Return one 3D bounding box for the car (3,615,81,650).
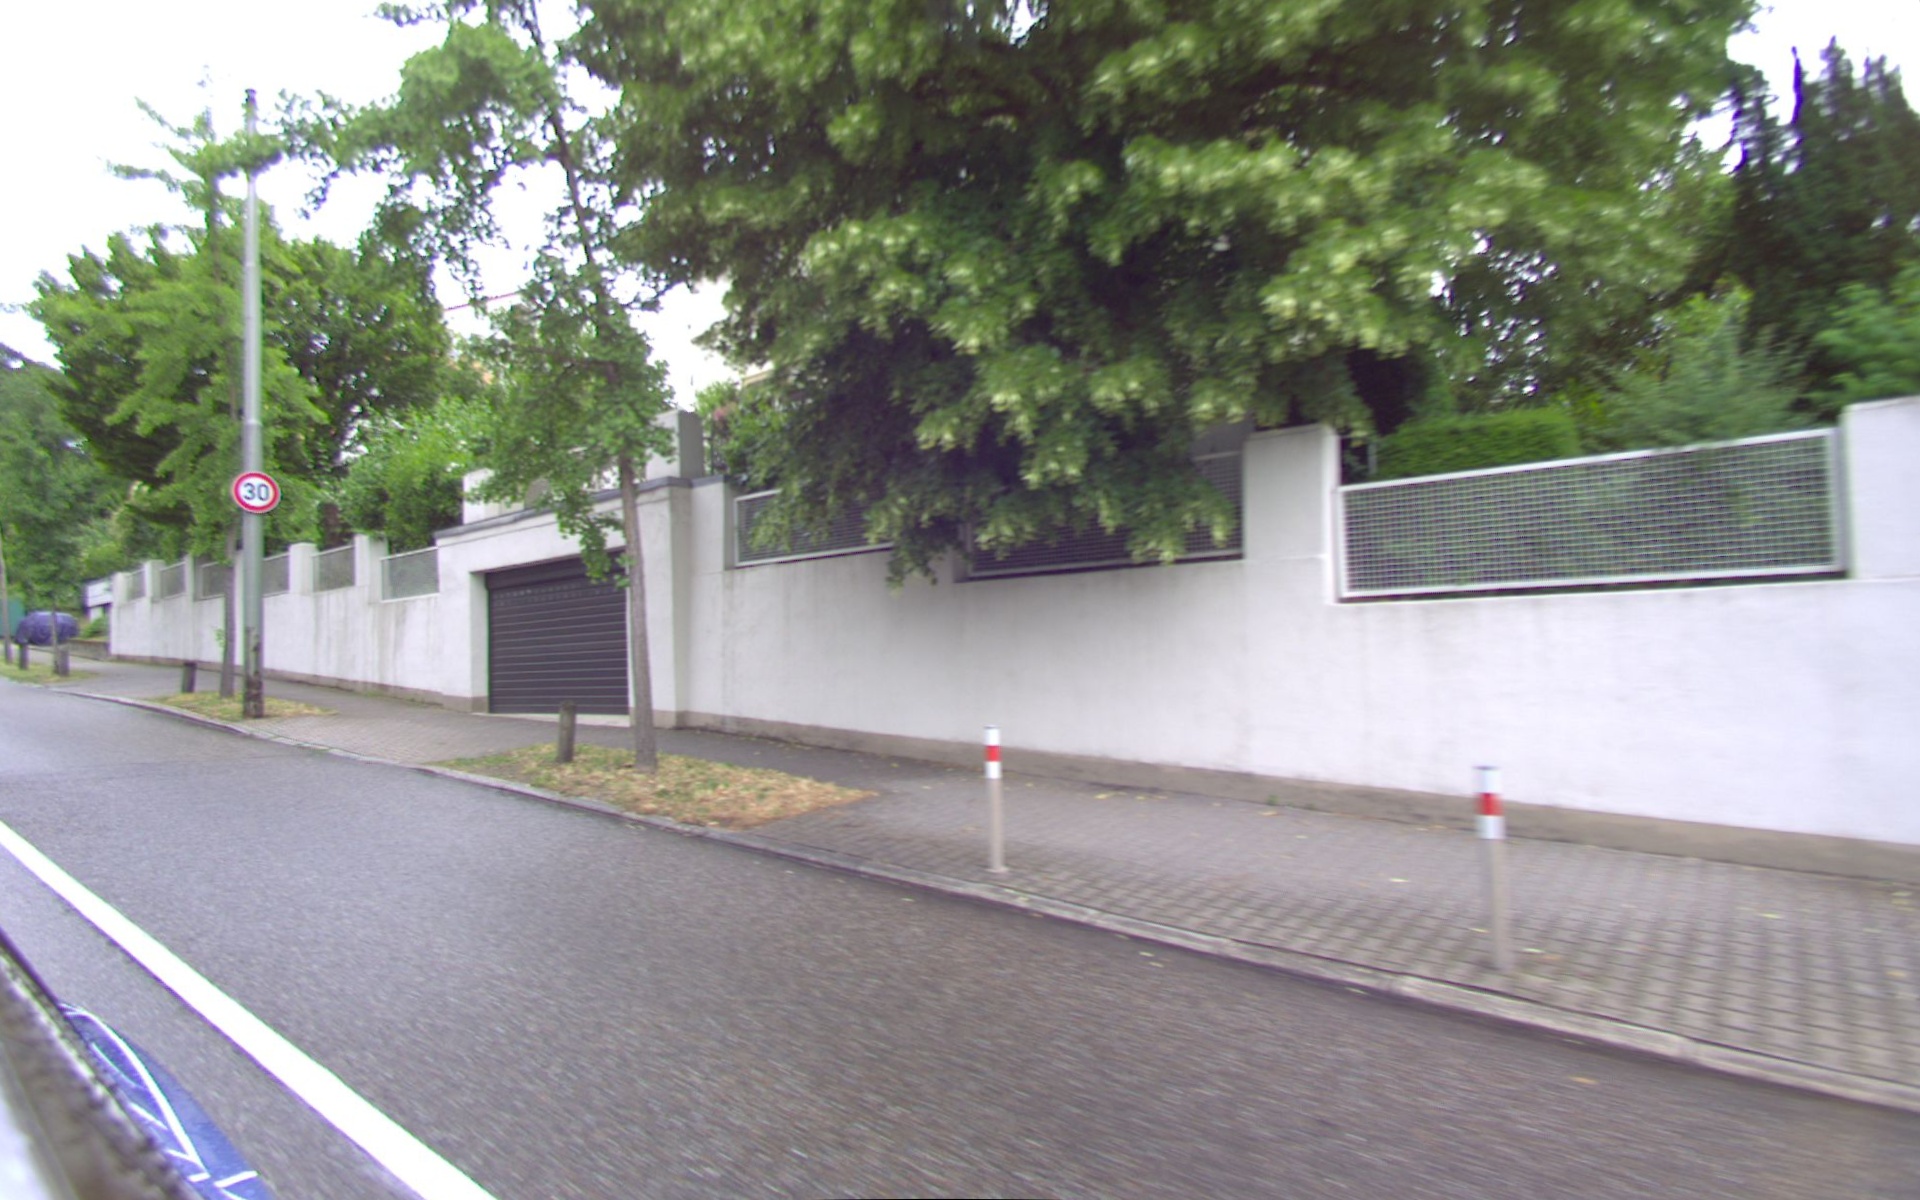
[{"bbox_3d":[-40.927,1.443,45.097,3.859,1.503,1.834,-1,-3,37],"label":"car"}]
